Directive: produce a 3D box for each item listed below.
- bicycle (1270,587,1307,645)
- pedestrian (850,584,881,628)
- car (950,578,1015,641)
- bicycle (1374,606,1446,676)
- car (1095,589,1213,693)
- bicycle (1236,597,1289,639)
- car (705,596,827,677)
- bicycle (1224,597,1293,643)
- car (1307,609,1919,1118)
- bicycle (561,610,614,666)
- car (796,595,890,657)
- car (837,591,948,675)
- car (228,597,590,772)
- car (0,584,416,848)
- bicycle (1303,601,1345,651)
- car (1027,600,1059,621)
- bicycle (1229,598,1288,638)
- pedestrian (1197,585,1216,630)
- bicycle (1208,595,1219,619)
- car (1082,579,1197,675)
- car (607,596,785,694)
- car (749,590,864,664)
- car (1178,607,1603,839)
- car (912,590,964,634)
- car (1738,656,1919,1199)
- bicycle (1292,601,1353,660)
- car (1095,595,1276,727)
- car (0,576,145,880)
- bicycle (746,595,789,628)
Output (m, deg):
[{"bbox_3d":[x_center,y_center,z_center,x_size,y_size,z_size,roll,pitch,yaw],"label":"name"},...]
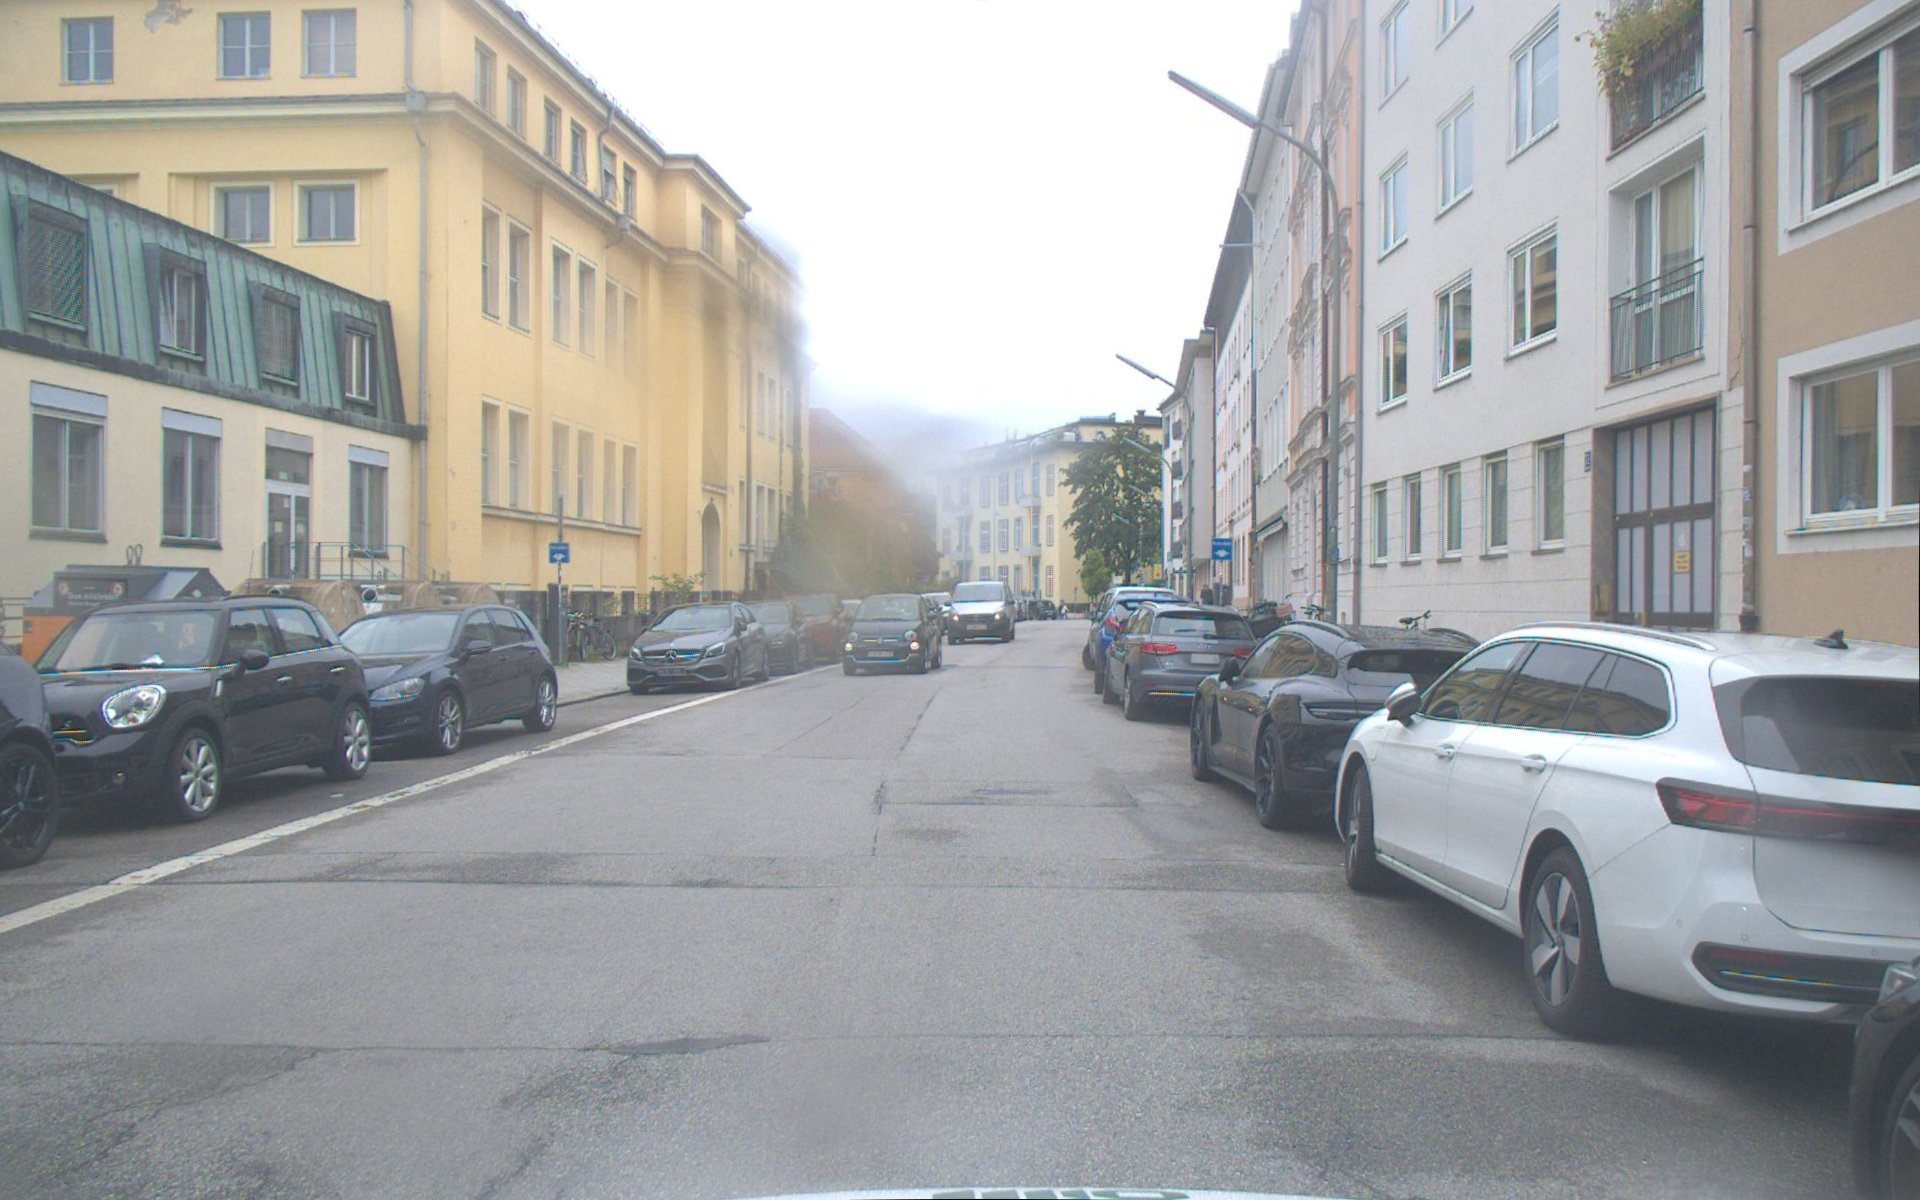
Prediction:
[{"bbox_3d":[8.304,0.390,41.853,0.583,1.409,2.093,-1,0,2],"label":"bicycle"},{"bbox_3d":[-3.918,0.246,68.441,0.883,1.749,1.058,-1,0,23],"label":"pedestrian"},{"bbox_3d":[0.759,0.292,51.695,1.875,1.881,5.322,0,0,2],"label":"car"},{"bbox_3d":[7.454,0.660,27.456,0.518,1.090,1.999,0,0,-4],"label":"bicycle"},{"bbox_3d":[3.076,0.597,26.614,1.705,1.520,4.551,0,0,6],"label":"car"},{"bbox_3d":[8.421,0.495,46.004,0.610,1.108,1.805,-1,0,40],"label":"bicycle"},{"bbox_3d":[-3.828,0.695,33.349,1.713,1.429,4.356,-3,0,2],"label":"car"},{"bbox_3d":[7.897,0.518,43.764,2.071,1.159,0.576,-1,0,-39],"label":"bicycle"},{"bbox_3d":[3.059,0.796,7.419,1.816,1.439,5.013,0,0,-2],"label":"car"},{"bbox_3d":[-8.276,0.829,36.821,0.524,1.206,2.108,0,0,6],"label":"bicycle"},{"bbox_3d":[-3.030,0.666,43.677,1.756,1.454,4.667,-3,-1,4],"label":"car"},{"bbox_3d":[-1.260,0.610,32.215,1.626,1.500,3.710,-1,0,6],"label":"car"},{"bbox_3d":[-5.629,0.785,17.603,1.873,1.507,4.535,-3,0,6],"label":"car"},{"bbox_3d":[-6.017,0.754,12.852,1.874,1.615,4.354,-4,1,3],"label":"car"},{"bbox_3d":[7.957,0.554,36.170,0.583,1.042,1.818,-1,0,2],"label":"bicycle"},{"bbox_3d":[8.125,1.015,162.905,1.734,1.907,4.360,4,-1,-16],"label":"car"},{"bbox_3d":[8.417,0.512,46.604,1.828,1.086,0.509,-1,0,-37],"label":"bicycle"},{"bbox_3d":[10.038,0.322,67.393,0.707,1.794,0.905,0,-3,6],"label":"pedestrian"},{"bbox_3d":[13.237,0.346,86.372,0.518,1.239,2.104,0,0,7],"label":"bicycle"},{"bbox_3d":[3.400,0.484,31.900,1.647,1.702,3.803,2,0,-2],"label":"car"},{"bbox_3d":[-4.411,0.727,28.339,1.972,1.443,4.617,-3,-1,4],"label":"car"},{"bbox_3d":[-3.446,0.596,37.997,1.917,1.508,4.531,-3,-1,3],"label":"car"},{"bbox_3d":[3.029,0.780,12.891,1.915,1.439,5.112,0,0,-1],"label":"car"},{"bbox_3d":[-0.842,0.460,66.477,1.709,1.662,4.858,-2,0,3],"label":"car"},{"bbox_3d":[3.124,0.899,2.064,1.723,1.389,4.777,4,0,-4],"label":"car"},{"bbox_3d":[7.189,0.584,32.920,0.708,1.132,1.994,0,0,-2],"label":"bicycle"},{"bbox_3d":[2.855,0.713,21.819,1.671,1.479,4.401,3,0,-1],"label":"car"},{"bbox_3d":[-6.256,0.750,8.348,1.841,1.664,4.351,-3,0,4],"label":"car"},{"bbox_3d":[-7.630,0.463,65.465,1.591,1.290,0.527,-1,0,7],"label":"bicycle"}]
